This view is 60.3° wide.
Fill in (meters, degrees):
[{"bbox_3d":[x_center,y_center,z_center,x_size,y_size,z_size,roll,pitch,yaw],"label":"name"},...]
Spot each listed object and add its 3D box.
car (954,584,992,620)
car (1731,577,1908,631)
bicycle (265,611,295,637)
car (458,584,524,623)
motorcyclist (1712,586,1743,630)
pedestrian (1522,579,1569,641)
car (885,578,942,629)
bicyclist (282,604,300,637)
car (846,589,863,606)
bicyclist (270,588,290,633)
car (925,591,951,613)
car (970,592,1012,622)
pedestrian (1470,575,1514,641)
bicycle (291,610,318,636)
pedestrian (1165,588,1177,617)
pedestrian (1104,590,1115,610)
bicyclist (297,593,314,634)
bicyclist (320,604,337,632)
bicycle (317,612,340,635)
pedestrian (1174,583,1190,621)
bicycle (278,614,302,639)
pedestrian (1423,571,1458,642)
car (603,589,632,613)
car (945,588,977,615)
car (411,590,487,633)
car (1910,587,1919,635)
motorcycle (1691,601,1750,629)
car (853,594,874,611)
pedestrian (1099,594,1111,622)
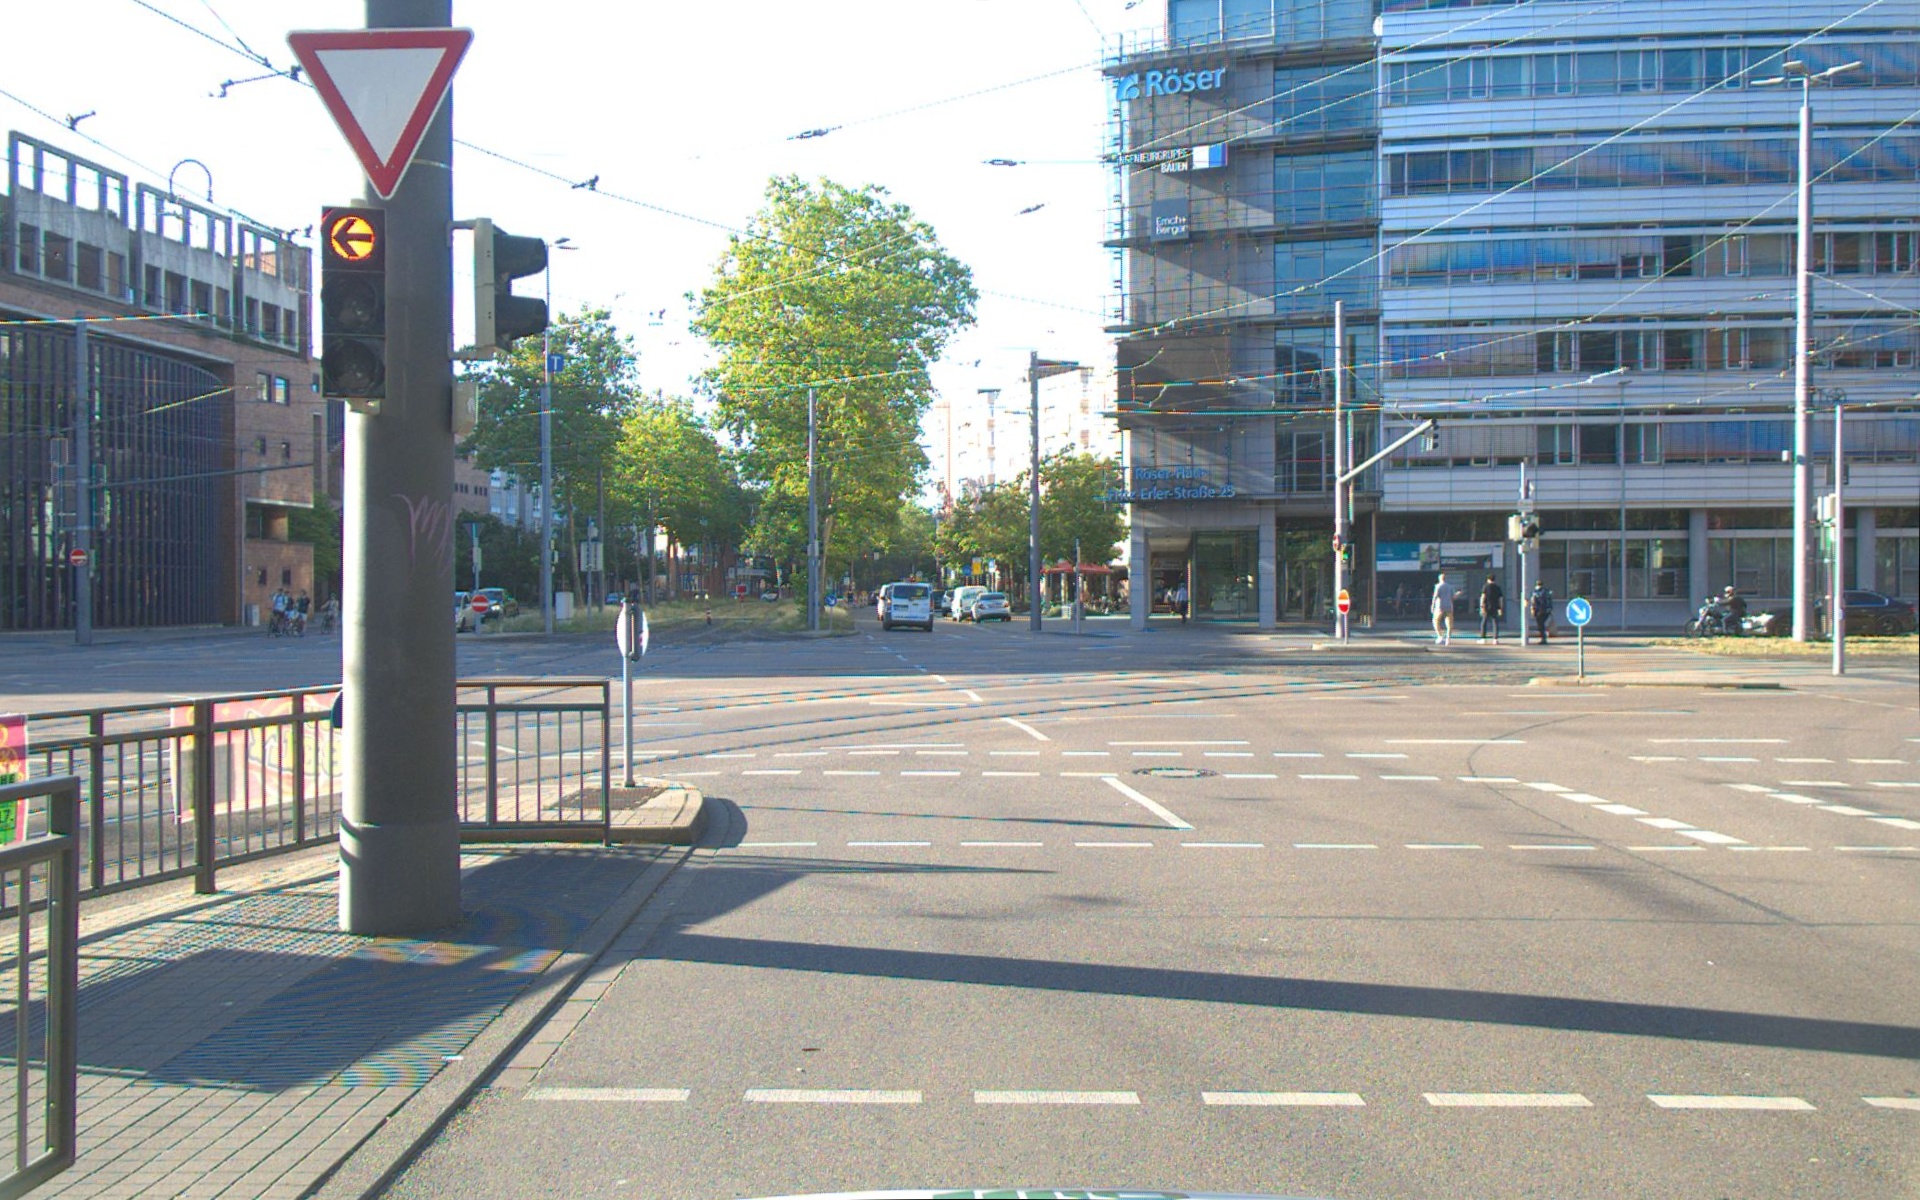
[{"bbox_3d":[0.691,0.113,89.574,1.953,1.892,3.999,-1,0,-1],"label":"car"},{"bbox_3d":[24.402,0.110,47.073,4.070,1.423,1.786,-1,0,4],"label":"car"},{"bbox_3d":[-26.789,0.941,65.155,0.531,0.980,1.586,-1,0,-1],"label":"bicycle"},{"bbox_3d":[-21.118,0.142,74.595,1.953,1.668,3.999,-1,0,-2],"label":"car"},{"bbox_3d":[23.115,0.230,49.813,0.697,1.298,0.460,-1,0,3],"label":"motorcyclist"},{"bbox_3d":[15.102,0.256,42.671,0.928,1.591,0.897,-1,0,6],"label":"pedestrian"},{"bbox_3d":[-1.775,0.112,65.006,1.920,1.881,5.331,-1,0,1],"label":"car"},{"bbox_3d":[-27.628,0.851,68.313,0.495,1.327,0.581,-1,0,-1],"label":"bicyclist"},{"bbox_3d":[-13.049,-0.295,204.892,1.953,2.049,3.999,-1,0,-1],"label":"car"},{"bbox_3d":[-26.794,0.424,65.135,0.525,1.761,0.581,-1,0,-1],"label":"bicyclist"},{"bbox_3d":[-1.674,0.126,126.634,1.953,1.646,3.999,-1,0,-1],"label":"car"},{"bbox_3d":[1.540,0.334,82.788,1.953,1.400,3.999,-1,0,-1],"label":"car"},{"bbox_3d":[14.019,0.196,43.595,0.893,1.714,1.036,-1,0,6],"label":"pedestrian"},{"bbox_3d":[-25.933,0.903,65.452,0.463,0.980,1.575,-1,0,-1],"label":"bicycle"},{"bbox_3d":[11.133,0.140,87.402,0.599,1.534,0.579,-1,0,7],"label":"pedestrian"},{"bbox_3d":[9.604,-0.015,106.433,0.565,1.311,0.910,-1,0,-1],"label":"pedestrian"},{"bbox_3d":[-25.874,0.523,65.400,0.449,1.631,0.581,-1,0,-1],"label":"bicyclist"},{"bbox_3d":[-27.126,0.782,71.063,0.495,1.199,0.581,-1,0,-1],"label":"bicyclist"},{"bbox_3d":[-27.125,1.011,71.053,0.442,0.980,1.347,-1,0,-1],"label":"bicycle"},{"bbox_3d":[9.090,0.090,67.726,0.599,1.534,0.579,-1,0,5],"label":"pedestrian"},{"bbox_3d":[-27.621,1.098,68.214,0.458,0.980,1.320,-1,0,-1],"label":"bicycle"},{"bbox_3d":[12.614,0.166,43.413,0.845,1.820,0.872,-1,0,16],"label":"pedestrian"},{"bbox_3d":[-30.349,0.052,146.701,1.954,2.049,3.997,-1,0,-3],"label":"car"},{"bbox_3d":[0.040,0.067,105.210,1.953,1.646,3.999,-1,0,-1],"label":"car"},{"bbox_3d":[-20.664,0.443,67.036,1.953,1.668,3.999,-1,0,-2],"label":"car"},{"bbox_3d":[30.916,0.267,49.482,3.903,1.418,1.786,-2,0,4],"label":"car"},{"bbox_3d":[22.907,0.445,49.830,1.535,0.824,0.467,-1,0,3],"label":"motorcycle"},{"bbox_3d":[-8.530,0.193,146.807,1.762,1.467,3.998,1,0,-3],"label":"car"},{"bbox_3d":[9.221,0.490,105.142,0.729,1.744,0.612,-1,0,-1],"label":"pedestrian"}]
